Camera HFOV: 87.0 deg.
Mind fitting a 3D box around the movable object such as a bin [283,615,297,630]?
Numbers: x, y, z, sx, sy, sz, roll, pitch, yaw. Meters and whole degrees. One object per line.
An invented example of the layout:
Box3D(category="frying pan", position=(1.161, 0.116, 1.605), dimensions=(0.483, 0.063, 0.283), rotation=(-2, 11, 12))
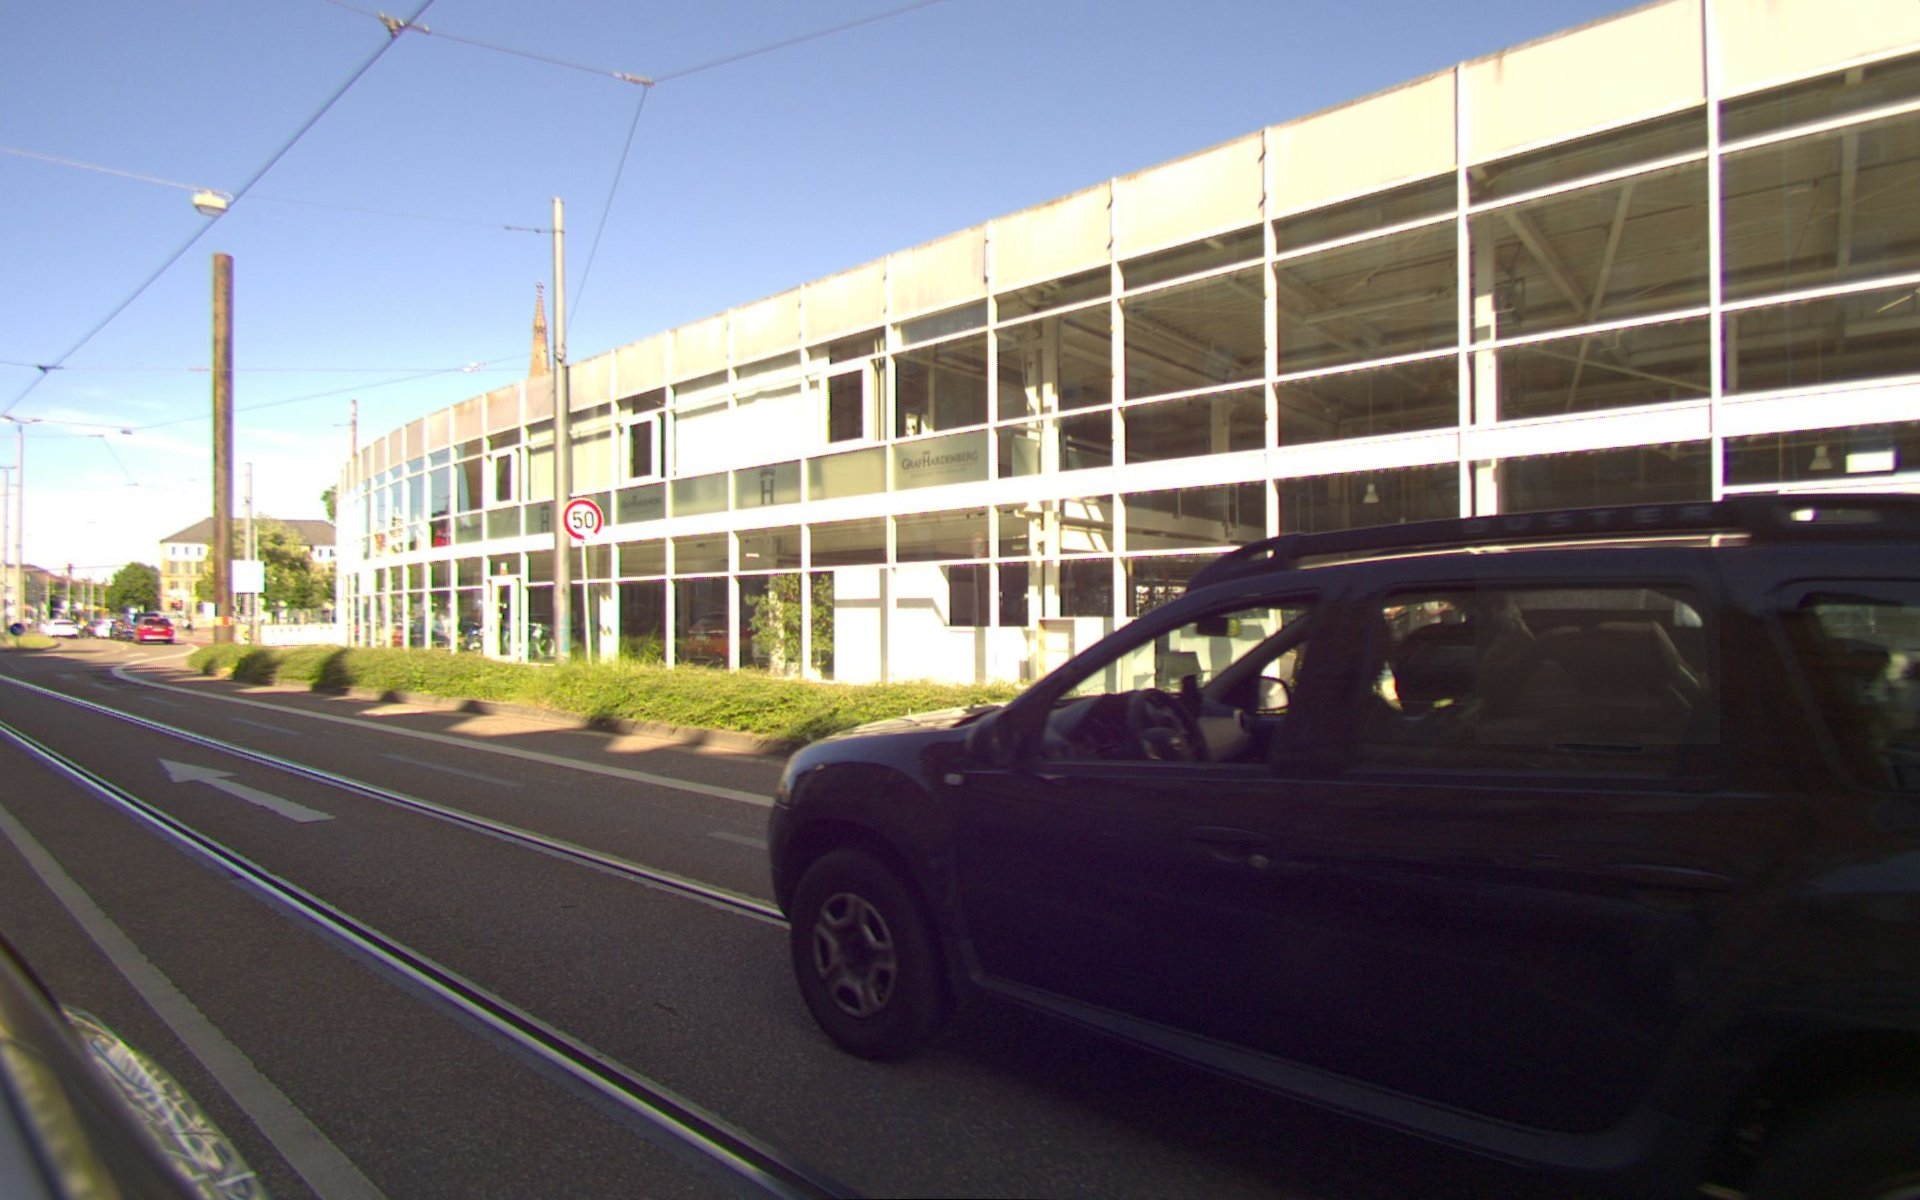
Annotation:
Box3D(category="movable object such as a bin", position=(-76.023, 2.563, 114.871), dimensions=(0.926, 1.646, 0.989), rotation=(-1, 1, 8))

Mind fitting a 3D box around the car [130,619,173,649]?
Box3D(category="car", position=(-50.339, 2.079, 62.991), dimensions=(1.778, 1.732, 4.421), rotation=(1, -1, -43))

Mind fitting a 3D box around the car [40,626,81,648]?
Box3D(category="car", position=(-67.626, 2.764, 76.052), dimensions=(4.540, 1.443, 1.783), rotation=(-1, 1, 42))

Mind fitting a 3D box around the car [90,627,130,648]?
Box3D(category="car", position=(-65.229, 2.843, 77.658), dimensions=(3.999, 1.443, 1.783), rotation=(-1, 1, 42))

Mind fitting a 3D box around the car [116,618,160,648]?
Box3D(category="car", position=(-55.429, 2.165, 68.239), dimensions=(4.166, 1.948, 1.782), rotation=(-1, -1, 44))

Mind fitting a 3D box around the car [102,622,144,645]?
Box3D(category="car", position=(-60.298, 2.389, 72.897), dimensions=(4.164, 1.590, 1.783), rotation=(-1, -1, 42))

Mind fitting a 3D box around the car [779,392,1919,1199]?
Box3D(category="car", position=(1.515, 0.525, 2.649), dimensions=(4.143, 1.709, 1.740), rotation=(-1, 1, 43))

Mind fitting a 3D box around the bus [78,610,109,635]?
Box3D(category="bus", position=(-128.826, 3.262, 150.524), dimensions=(2.804, 3.144, 11.846), rotation=(-2, 2, -37))

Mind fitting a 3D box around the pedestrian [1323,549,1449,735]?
Box3D(category="pedestrian", position=(4.301, 0.399, 10.242), dimensions=(1.050, 1.778, 0.521), rotation=(-1, 1, 41))

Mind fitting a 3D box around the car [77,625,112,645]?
Box3D(category="car", position=(-69.259, 2.788, 80.940), dimensions=(3.970, 1.490, 1.632), rotation=(-1, -2, 42))
